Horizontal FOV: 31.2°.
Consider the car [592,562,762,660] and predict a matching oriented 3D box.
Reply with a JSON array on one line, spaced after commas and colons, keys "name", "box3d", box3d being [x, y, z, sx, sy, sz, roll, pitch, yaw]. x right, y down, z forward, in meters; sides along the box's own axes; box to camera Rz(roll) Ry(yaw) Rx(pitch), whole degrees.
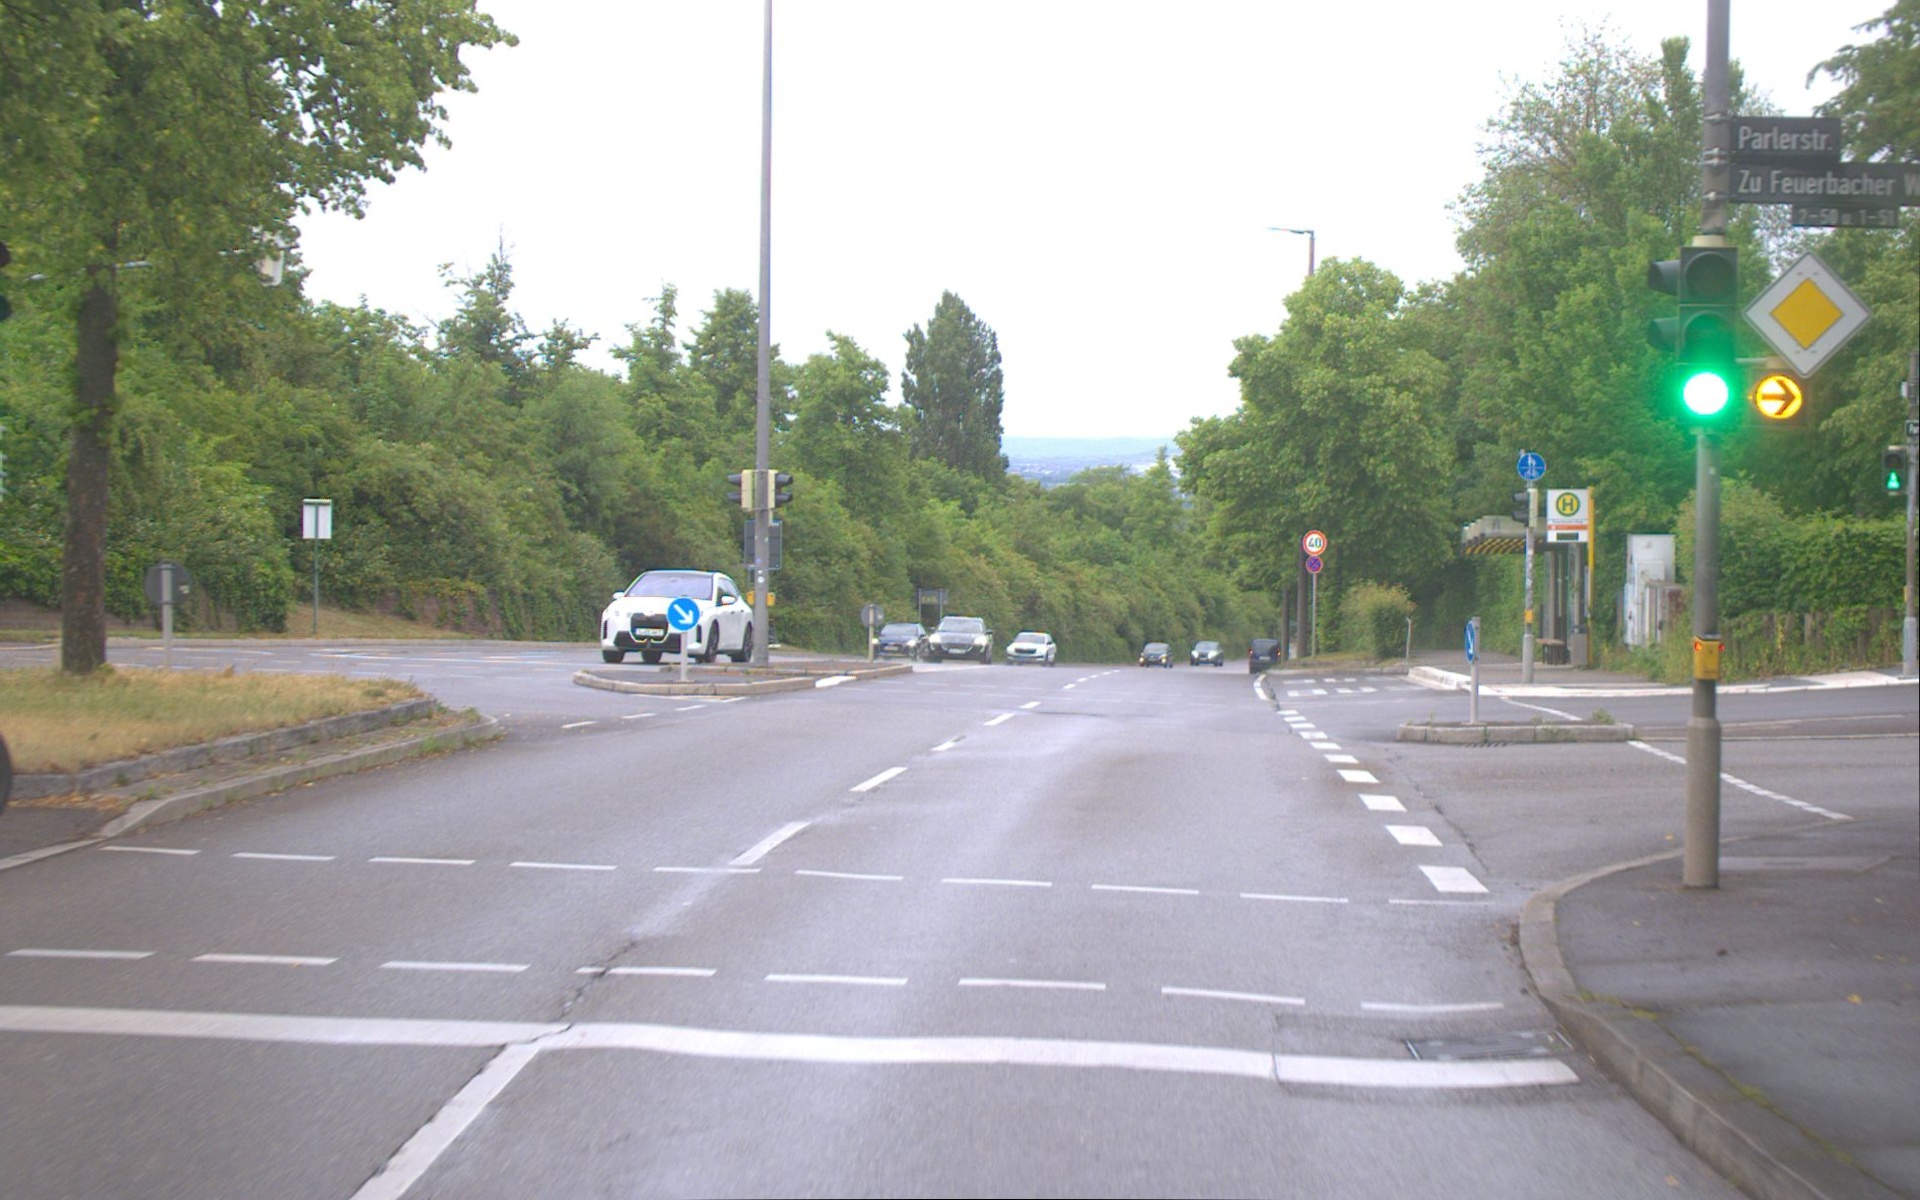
[{"name": "car", "box3d": [-5.038, 0.186, 61.962, 1.945, 1.630, 5.003, 2, 0, 8]}]

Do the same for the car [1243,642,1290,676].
[{"name": "car", "box3d": [15.622, 2.996, 175.112, 1.946, 1.585, 3.926, 2, 1, 11]}]

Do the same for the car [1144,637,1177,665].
[{"name": "car", "box3d": [12.097, 3.052, 207.401, 1.725, 1.560, 3.892, 4, 0, 5]}]

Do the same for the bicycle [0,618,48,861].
[{"name": "bicycle", "box3d": [-5.244, 0.653, 15.773, 0.553, 1.139, 2.135, 2, 1, 37]}]

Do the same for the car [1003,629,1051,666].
[{"name": "car", "box3d": [3.098, 2.174, 158.063, 1.724, 1.585, 3.999, 2, 1, 7]}]

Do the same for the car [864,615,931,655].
[{"name": "car", "box3d": [-2.306, 1.284, 127.500, 1.820, 1.433, 4.453, 2, 0, 7]}]

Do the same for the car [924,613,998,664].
[{"name": "car", "box3d": [0.063, 1.168, 105.954, 1.778, 1.467, 4.644, 2, 0, 6]}]
